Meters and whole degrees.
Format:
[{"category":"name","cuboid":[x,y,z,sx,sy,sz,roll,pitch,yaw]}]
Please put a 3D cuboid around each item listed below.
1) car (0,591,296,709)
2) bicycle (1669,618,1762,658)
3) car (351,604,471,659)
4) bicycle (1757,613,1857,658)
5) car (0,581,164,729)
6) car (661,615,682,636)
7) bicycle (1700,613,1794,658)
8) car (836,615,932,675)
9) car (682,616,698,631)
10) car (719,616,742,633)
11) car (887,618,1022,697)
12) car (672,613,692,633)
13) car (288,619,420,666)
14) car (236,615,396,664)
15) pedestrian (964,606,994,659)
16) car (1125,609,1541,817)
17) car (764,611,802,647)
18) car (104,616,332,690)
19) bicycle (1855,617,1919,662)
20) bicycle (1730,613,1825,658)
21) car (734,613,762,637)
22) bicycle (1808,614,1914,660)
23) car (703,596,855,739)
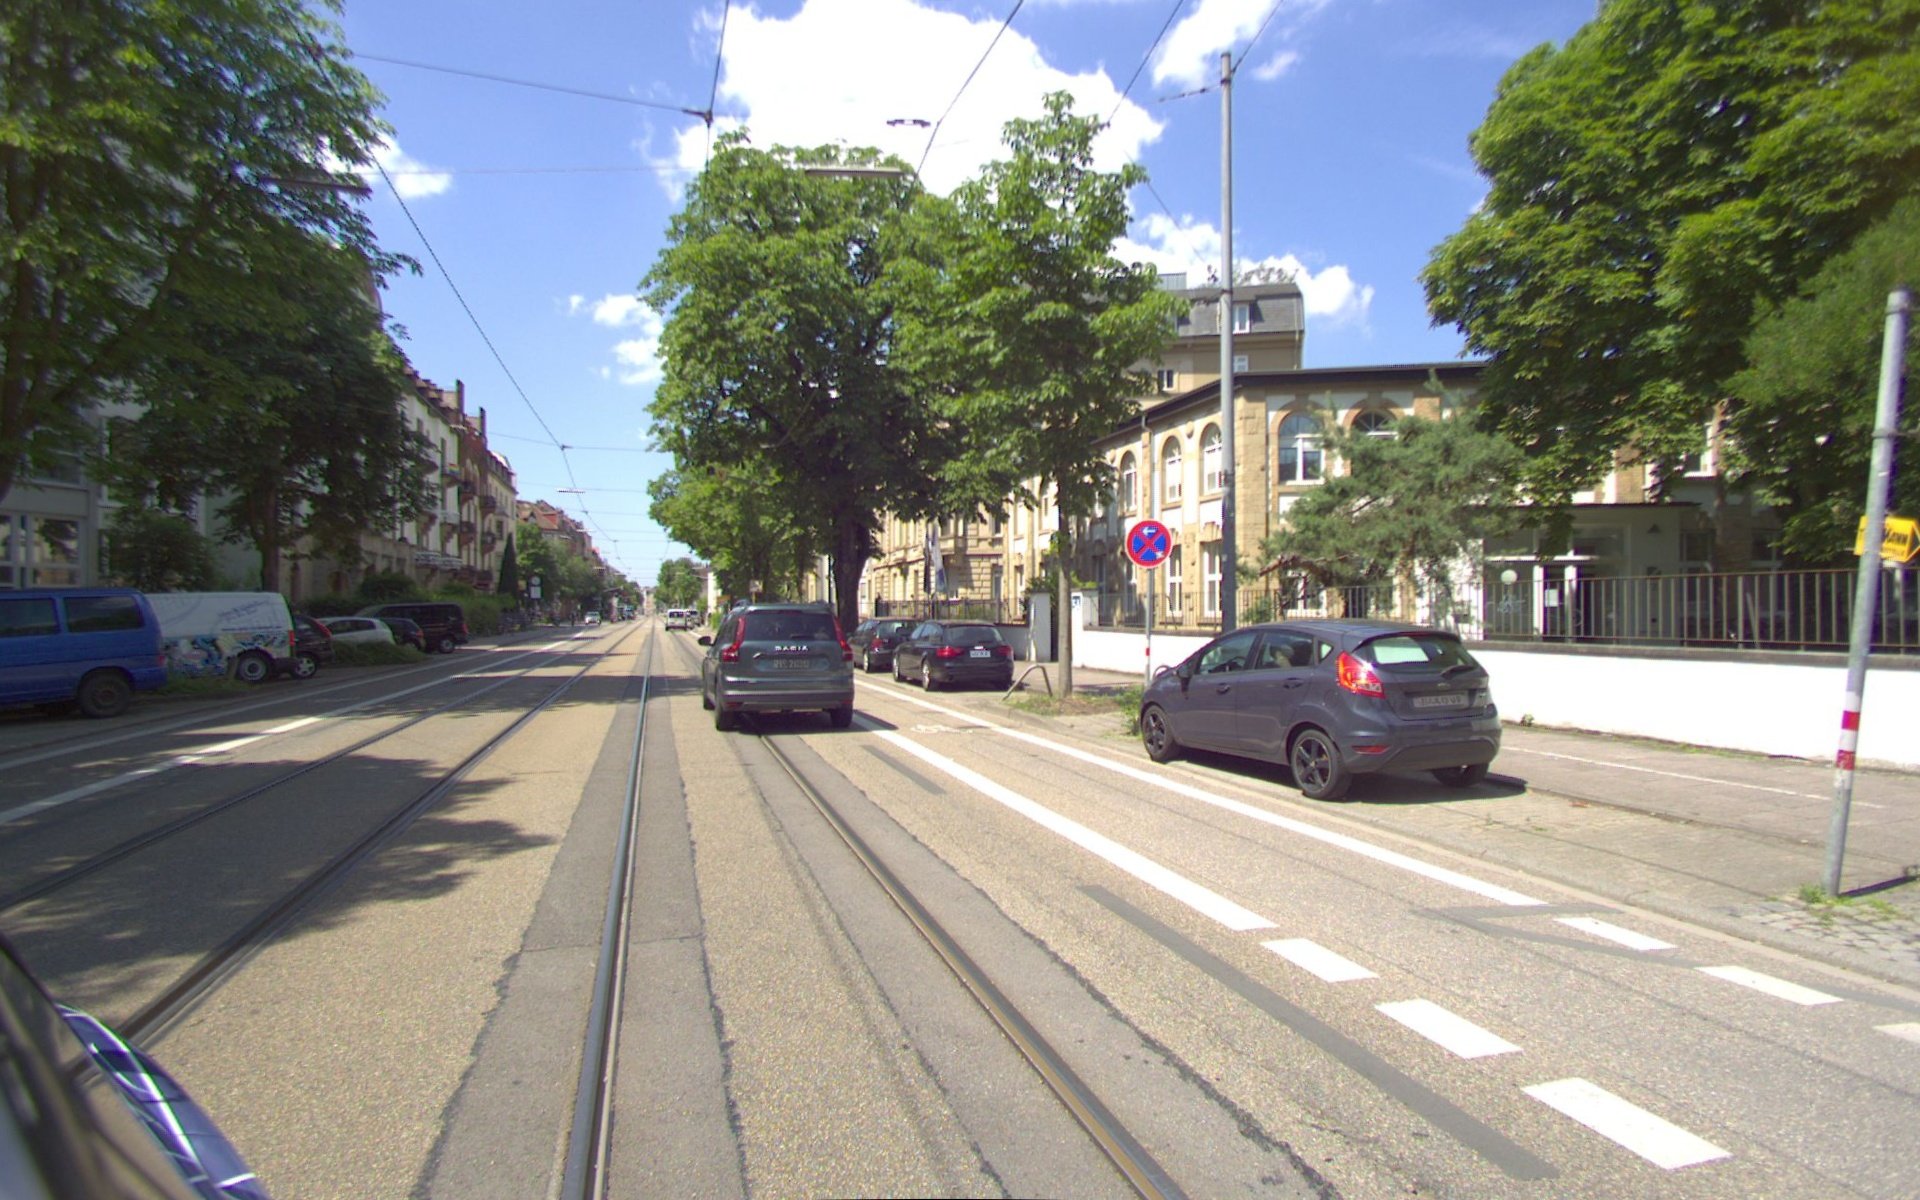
[{"category":"car","cuboid":[-15.994,0.884,19.867,1.996,2.029,4.575,-1,-1,35]},{"category":"bicycle","cuboid":[18.376,0.902,24.688,0.647,0.897,2.257,0,0,3]},{"category":"car","cuboid":[-21.403,1.193,39.491,3.933,2.029,2.005,0,-1,-34]},{"category":"bicycle","cuboid":[20.494,0.843,24.556,0.599,1.019,2.257,0,0,3]},{"category":"car","cuboid":[-14.158,0.762,13.992,1.990,2.029,4.587,-1,-1,27]},{"category":"car","cuboid":[-23.958,2.106,83.980,1.650,1.732,4.012,0,-1,-16]},{"category":"bicycle","cuboid":[19.192,0.849,24.743,0.624,1.019,2.258,0,0,3]},{"category":"car","cuboid":[-2.145,1.172,27.648,1.919,1.454,3.784,-1,0,-15]},{"category":"car","cuboid":[-30.838,2.647,115.521,1.734,1.732,4.012,0,-1,-16]},{"category":"car","cuboid":[-20.853,2.189,92.002,1.807,1.497,4.011,0,-1,-16]},{"category":"car","cuboid":[-0.243,1.133,21.443,1.852,1.429,4.162,-1,0,-15]},{"category":"car","cuboid":[-25.410,2.077,92.451,1.734,1.732,4.012,0,-1,-16]},{"category":"car","cuboid":[-21.558,1.468,36.032,3.933,1.519,1.953,0,-1,-34]},{"category":"car","cuboid":[-20.425,1.276,32.272,1.742,1.397,3.964,1,-2,26]},{"category":"pedestrian","cuboid":[0.568,0.982,30.932,0.685,1.579,0.746,0,-1,-19]},{"category":"car","cuboid":[3.214,0.877,9.547,1.561,1.467,3.738,-3,0,-20]},{"category":"car","cuboid":[-8.603,1.377,49.089,1.701,1.626,4.009,-1,0,-11]},{"category":"car","cuboid":[-16.943,1.150,23.266,1.669,1.497,3.948,-1,-1,38]},{"category":"bicycle","cuboid":[22.371,0.918,23.959,0.600,1.019,2.255,0,0,7]},{"category":"bicycle","cuboid":[19.828,0.828,24.605,0.562,1.019,2.257,0,0,3]},{"category":"car","cuboid":[-14.103,1.666,67.421,1.782,1.490,4.009,-1,0,-11]},{"category":"bicycle","cuboid":[21.479,0.862,24.204,0.599,1.019,2.257,0,0,3]},{"category":"car","cuboid":[-2.628,0.845,13.979,1.579,1.664,4.012,1,-2,-17]}]
